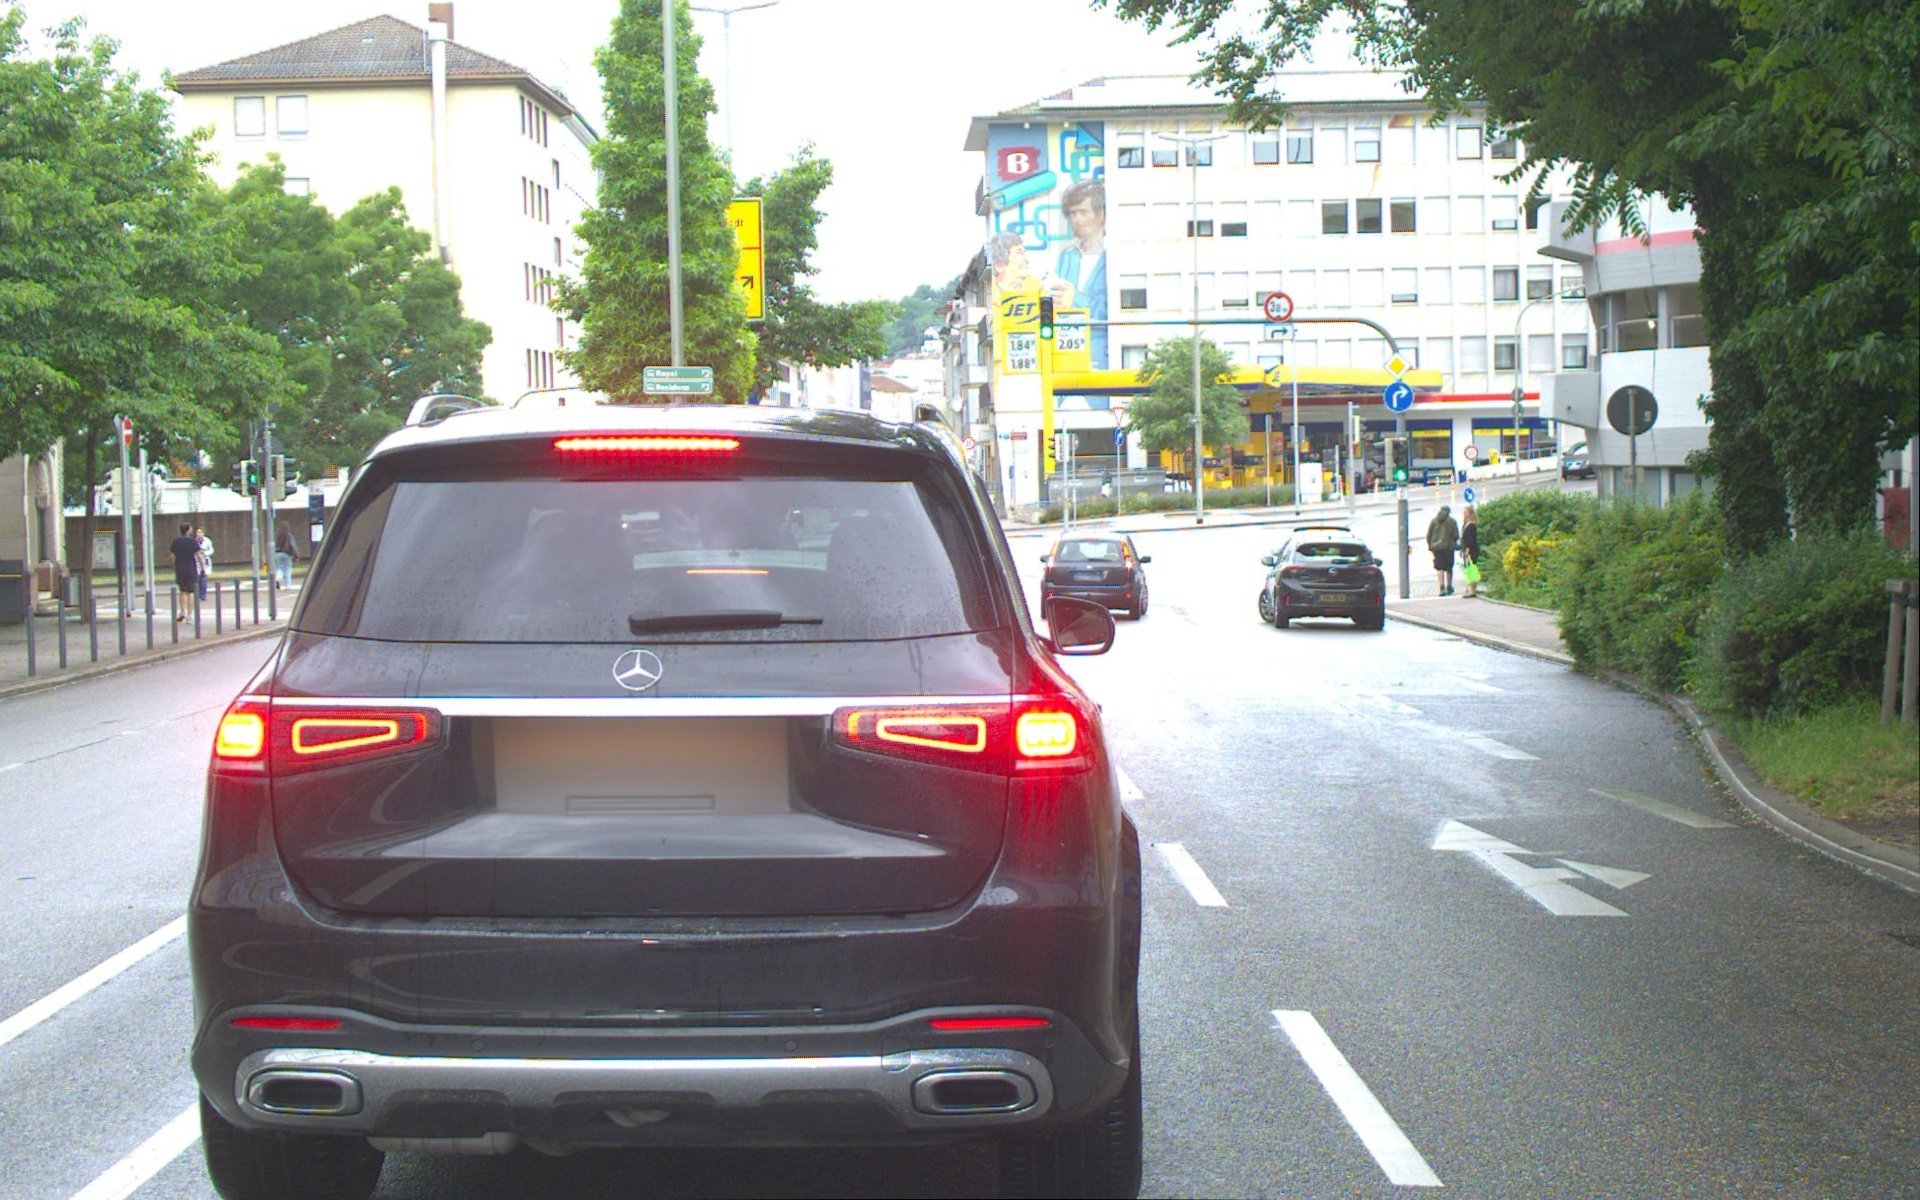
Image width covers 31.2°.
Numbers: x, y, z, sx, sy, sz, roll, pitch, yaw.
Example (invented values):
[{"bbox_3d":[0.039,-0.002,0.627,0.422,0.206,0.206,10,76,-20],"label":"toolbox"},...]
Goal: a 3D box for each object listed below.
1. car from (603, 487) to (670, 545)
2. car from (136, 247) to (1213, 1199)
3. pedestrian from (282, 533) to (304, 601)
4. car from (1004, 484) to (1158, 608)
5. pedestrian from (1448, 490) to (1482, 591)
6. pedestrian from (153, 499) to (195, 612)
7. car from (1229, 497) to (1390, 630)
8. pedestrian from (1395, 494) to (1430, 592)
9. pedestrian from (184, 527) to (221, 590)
[{"bbox_3d":[-11.166,-2.891,118.951,1.993,1.868,5.142,1,0,-2],"label":"car"},{"bbox_3d":[-0.602,0.344,8.463,1.993,2.007,4.000,1,0,-2],"label":"car"},{"bbox_3d":[-16.283,-0.807,83.936,0.399,1.639,0.567,1,0,-1],"label":"pedestrian"},{"bbox_3d":[2.003,-0.898,58.246,1.993,2.007,4.001,1,0,-7],"label":"car"},{"bbox_3d":[9.598,-1.129,65.354,0.519,1.904,0.556,1,0,-1],"label":"pedestrian"},{"bbox_3d":[-14.060,-0.798,61.515,0.587,2.007,0.749,0,0,-2],"label":"pedestrian"},{"bbox_3d":[5.500,-0.568,54.570,1.993,2.007,4.000,1,0,-2],"label":"car"},{"bbox_3d":[8.938,-1.125,67.964,0.620,1.929,0.610,1,0,4],"label":"pedestrian"},{"bbox_3d":[-17.506,-0.956,79.441,0.711,1.457,0.598,1,0,-2],"label":"pedestrian"}]
